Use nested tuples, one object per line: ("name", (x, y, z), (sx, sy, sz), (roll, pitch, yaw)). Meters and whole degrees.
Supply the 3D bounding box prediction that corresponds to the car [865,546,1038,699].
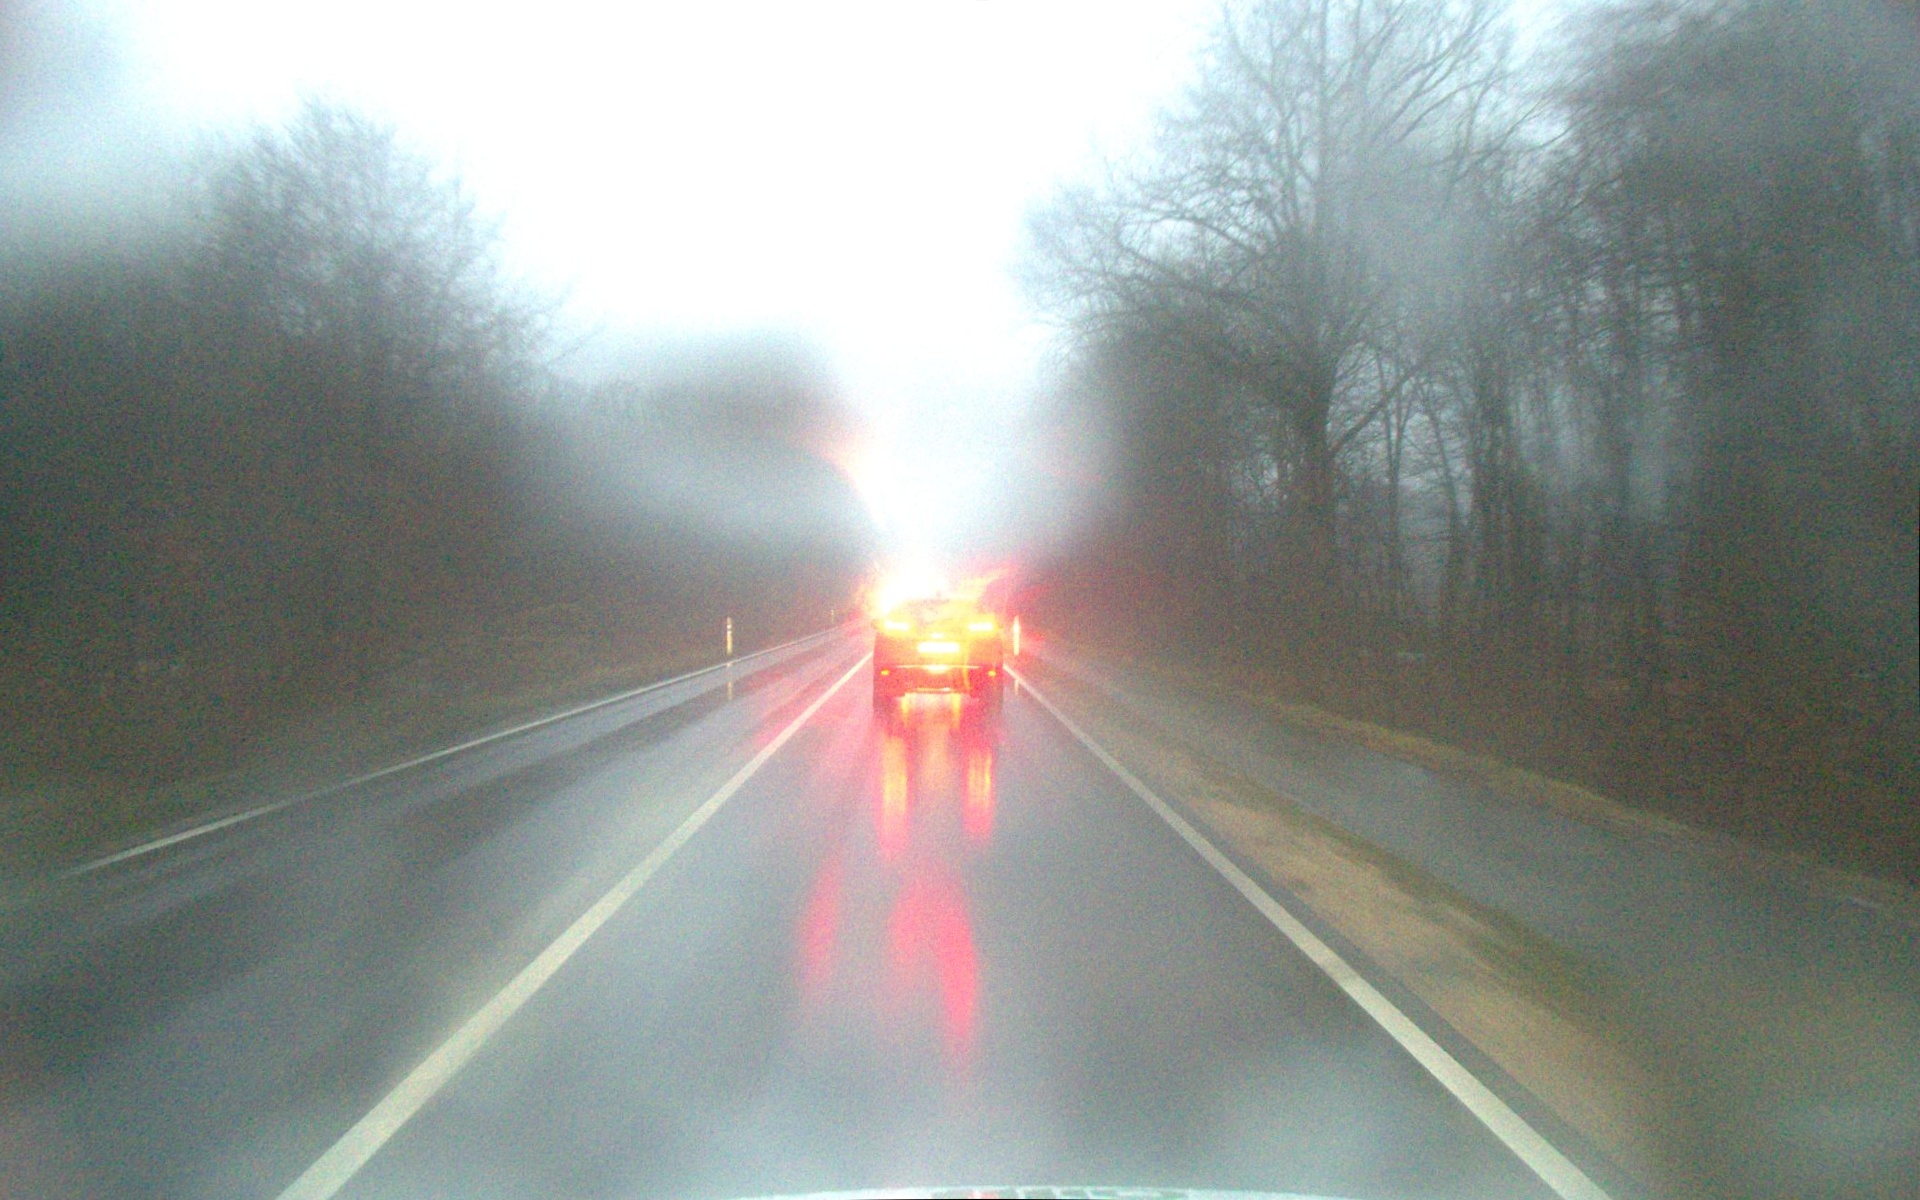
("car", (-0.168, 0.258, 23.415), (2.154, 1.910, 4.826), (1, 1, -2))
